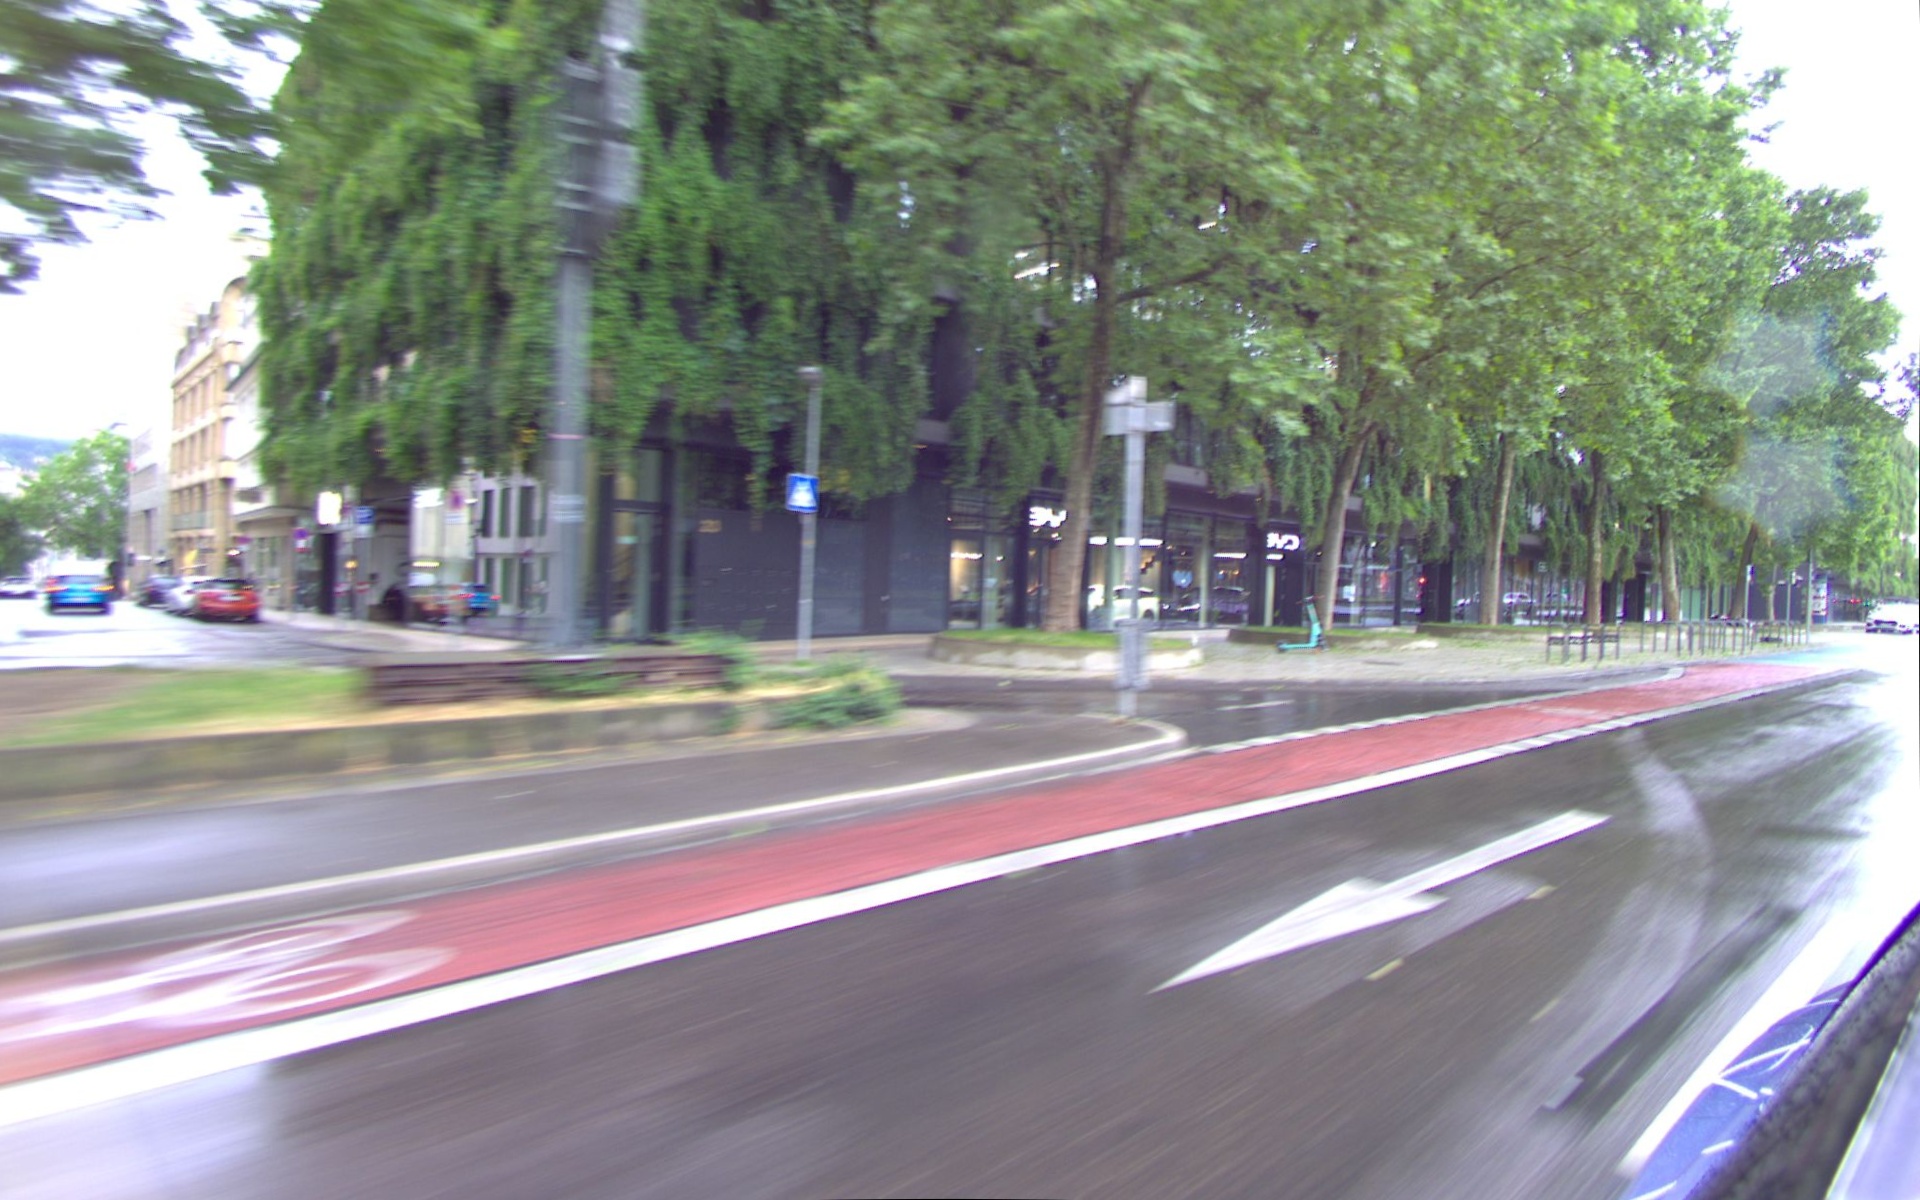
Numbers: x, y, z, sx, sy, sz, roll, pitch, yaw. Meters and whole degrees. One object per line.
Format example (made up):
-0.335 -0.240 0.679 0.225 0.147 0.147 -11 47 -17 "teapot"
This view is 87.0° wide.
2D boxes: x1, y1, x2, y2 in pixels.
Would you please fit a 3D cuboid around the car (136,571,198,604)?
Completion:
-35.258 -0.532 44.960 1.814 1.404 3.991 -1 0 -43 "car"

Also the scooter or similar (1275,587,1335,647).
7.502 0.364 22.041 1.165 1.298 0.535 0 0 9 "scooter or similar"

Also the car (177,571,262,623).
-24.441 -0.101 33.370 1.814 1.609 3.991 -1 0 -43 "car"

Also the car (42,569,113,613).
-31.076 -0.371 35.729 1.769 1.454 4.058 -1 2 -40 "car"

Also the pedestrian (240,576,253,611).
-30.162 -0.269 42.776 0.413 1.475 0.426 0 0 -43 "pedestrian"

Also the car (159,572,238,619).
-27.539 -0.168 36.563 3.789 1.609 1.757 0 0 44 "car"

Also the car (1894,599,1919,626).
59.932 0.742 63.075 4.504 1.581 2.034 -1 0 -40 "car"

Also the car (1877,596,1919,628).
55.394 0.689 59.380 4.521 1.758 1.930 -1 0 -43 "car"

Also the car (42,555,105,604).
-37.408 -0.840 42.703 1.893 1.970 4.954 -1 1 -42 "car"
